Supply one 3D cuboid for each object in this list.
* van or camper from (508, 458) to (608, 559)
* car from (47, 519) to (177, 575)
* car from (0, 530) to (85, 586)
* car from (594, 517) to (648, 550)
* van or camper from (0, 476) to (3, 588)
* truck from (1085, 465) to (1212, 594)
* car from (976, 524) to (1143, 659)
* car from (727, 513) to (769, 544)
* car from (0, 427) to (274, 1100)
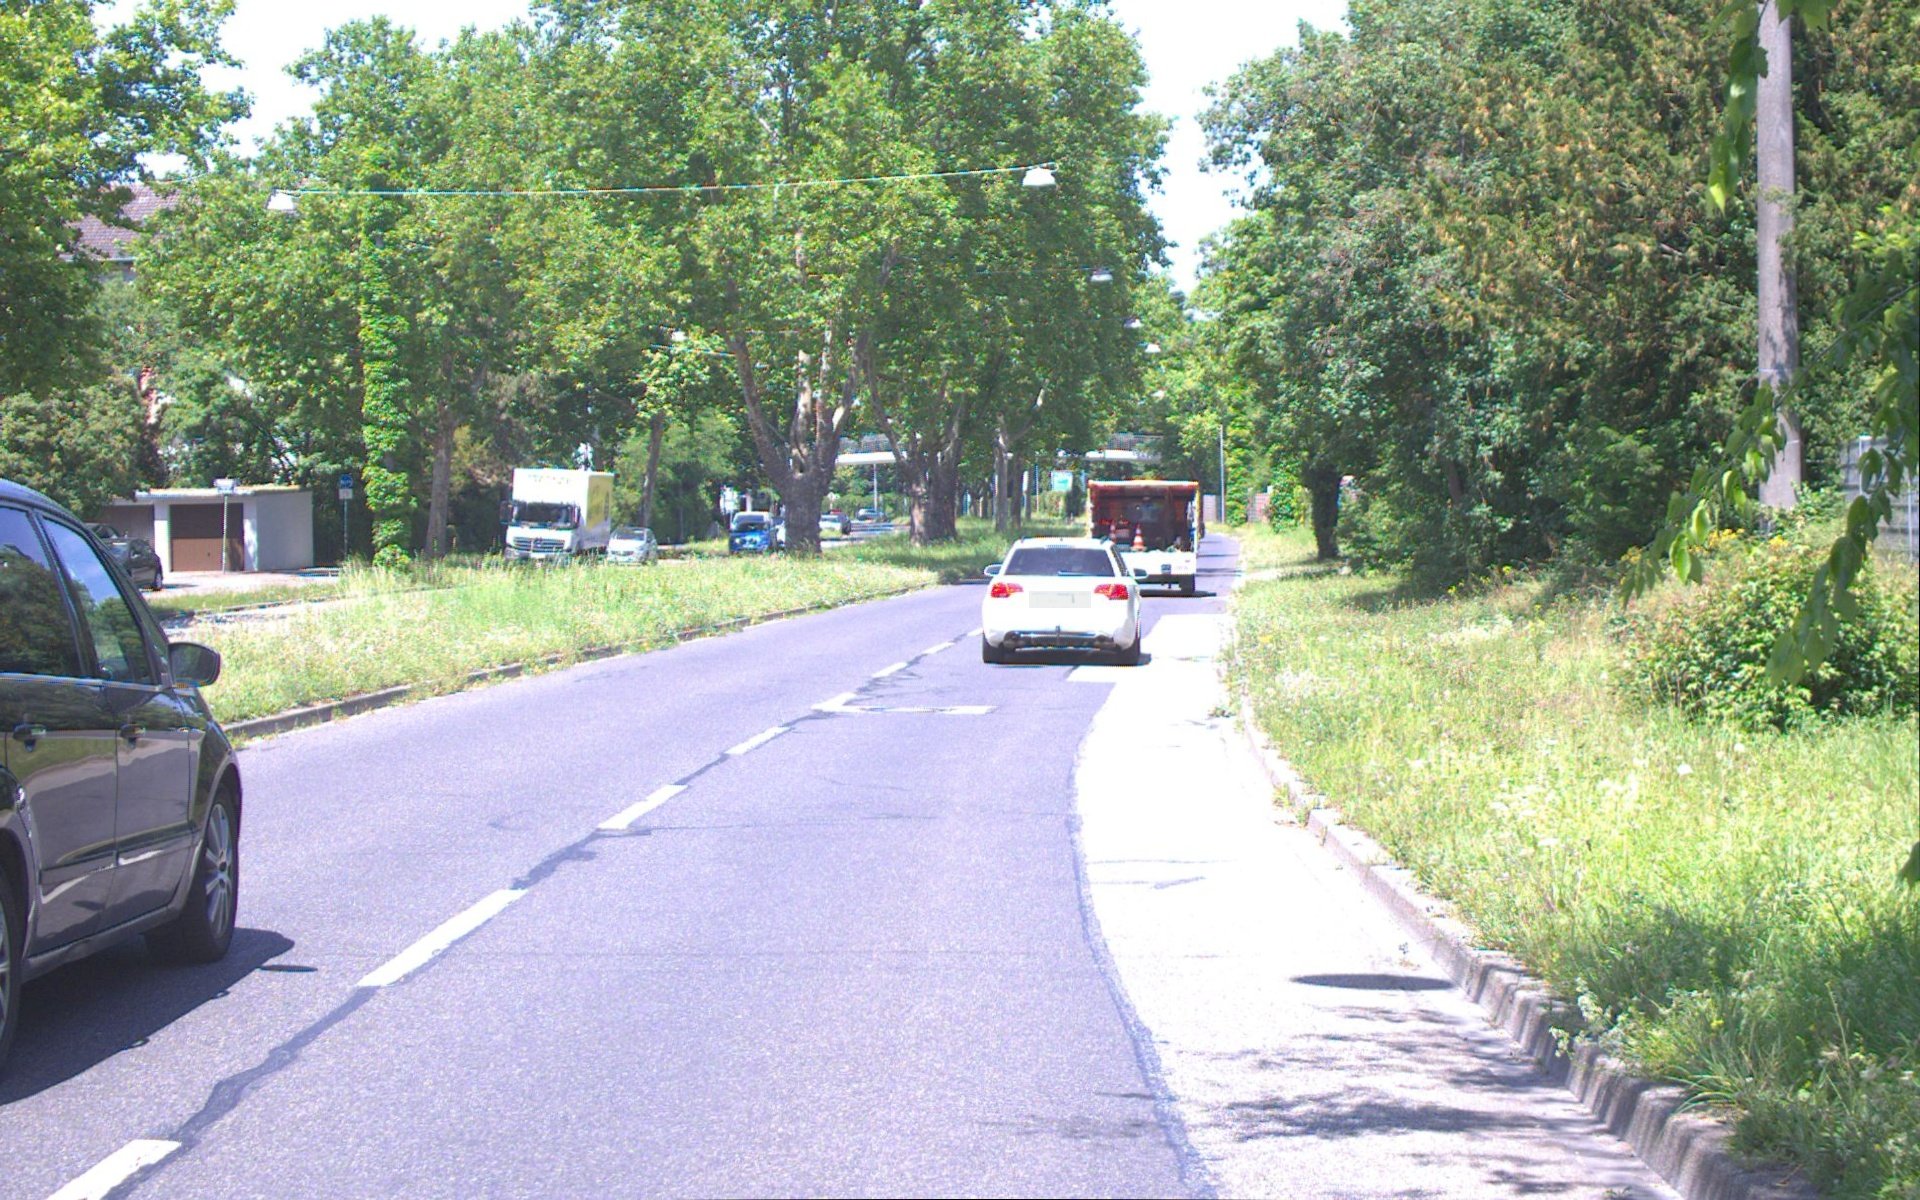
[{"bbox_3d":[-13.667,-3.124,117.197,2.661,3.320,5.501,-1,1,0],"label":"van or camper"},{"bbox_3d":[-21.932,-1.393,89.079,1.829,1.386,3.946,-1,2,9],"label":"car"},{"bbox_3d":[-22.723,-1.025,83.415,1.693,1.279,3.802,-1,2,5],"label":"car"},{"bbox_3d":[-13.056,-2.587,132.461,1.914,1.206,4.336,-1,2,-4],"label":"car"},{"bbox_3d":[-23.525,-1.481,76.926,2.183,2.578,5.308,-1,2,7],"label":"van or camper"},{"bbox_3d":[3.971,-1.565,73.007,2.511,2.550,7.603,1,2,3],"label":"truck"},{"bbox_3d":[1.185,-0.132,39.558,1.763,1.440,3.616,0,2,4],"label":"car"},{"bbox_3d":[-9.090,-3.059,147.232,1.771,1.327,3.661,0,1,-4],"label":"car"},{"bbox_3d":[-3.438,0.392,10.272,1.854,1.749,4.649,0,2,0],"label":"car"}]
